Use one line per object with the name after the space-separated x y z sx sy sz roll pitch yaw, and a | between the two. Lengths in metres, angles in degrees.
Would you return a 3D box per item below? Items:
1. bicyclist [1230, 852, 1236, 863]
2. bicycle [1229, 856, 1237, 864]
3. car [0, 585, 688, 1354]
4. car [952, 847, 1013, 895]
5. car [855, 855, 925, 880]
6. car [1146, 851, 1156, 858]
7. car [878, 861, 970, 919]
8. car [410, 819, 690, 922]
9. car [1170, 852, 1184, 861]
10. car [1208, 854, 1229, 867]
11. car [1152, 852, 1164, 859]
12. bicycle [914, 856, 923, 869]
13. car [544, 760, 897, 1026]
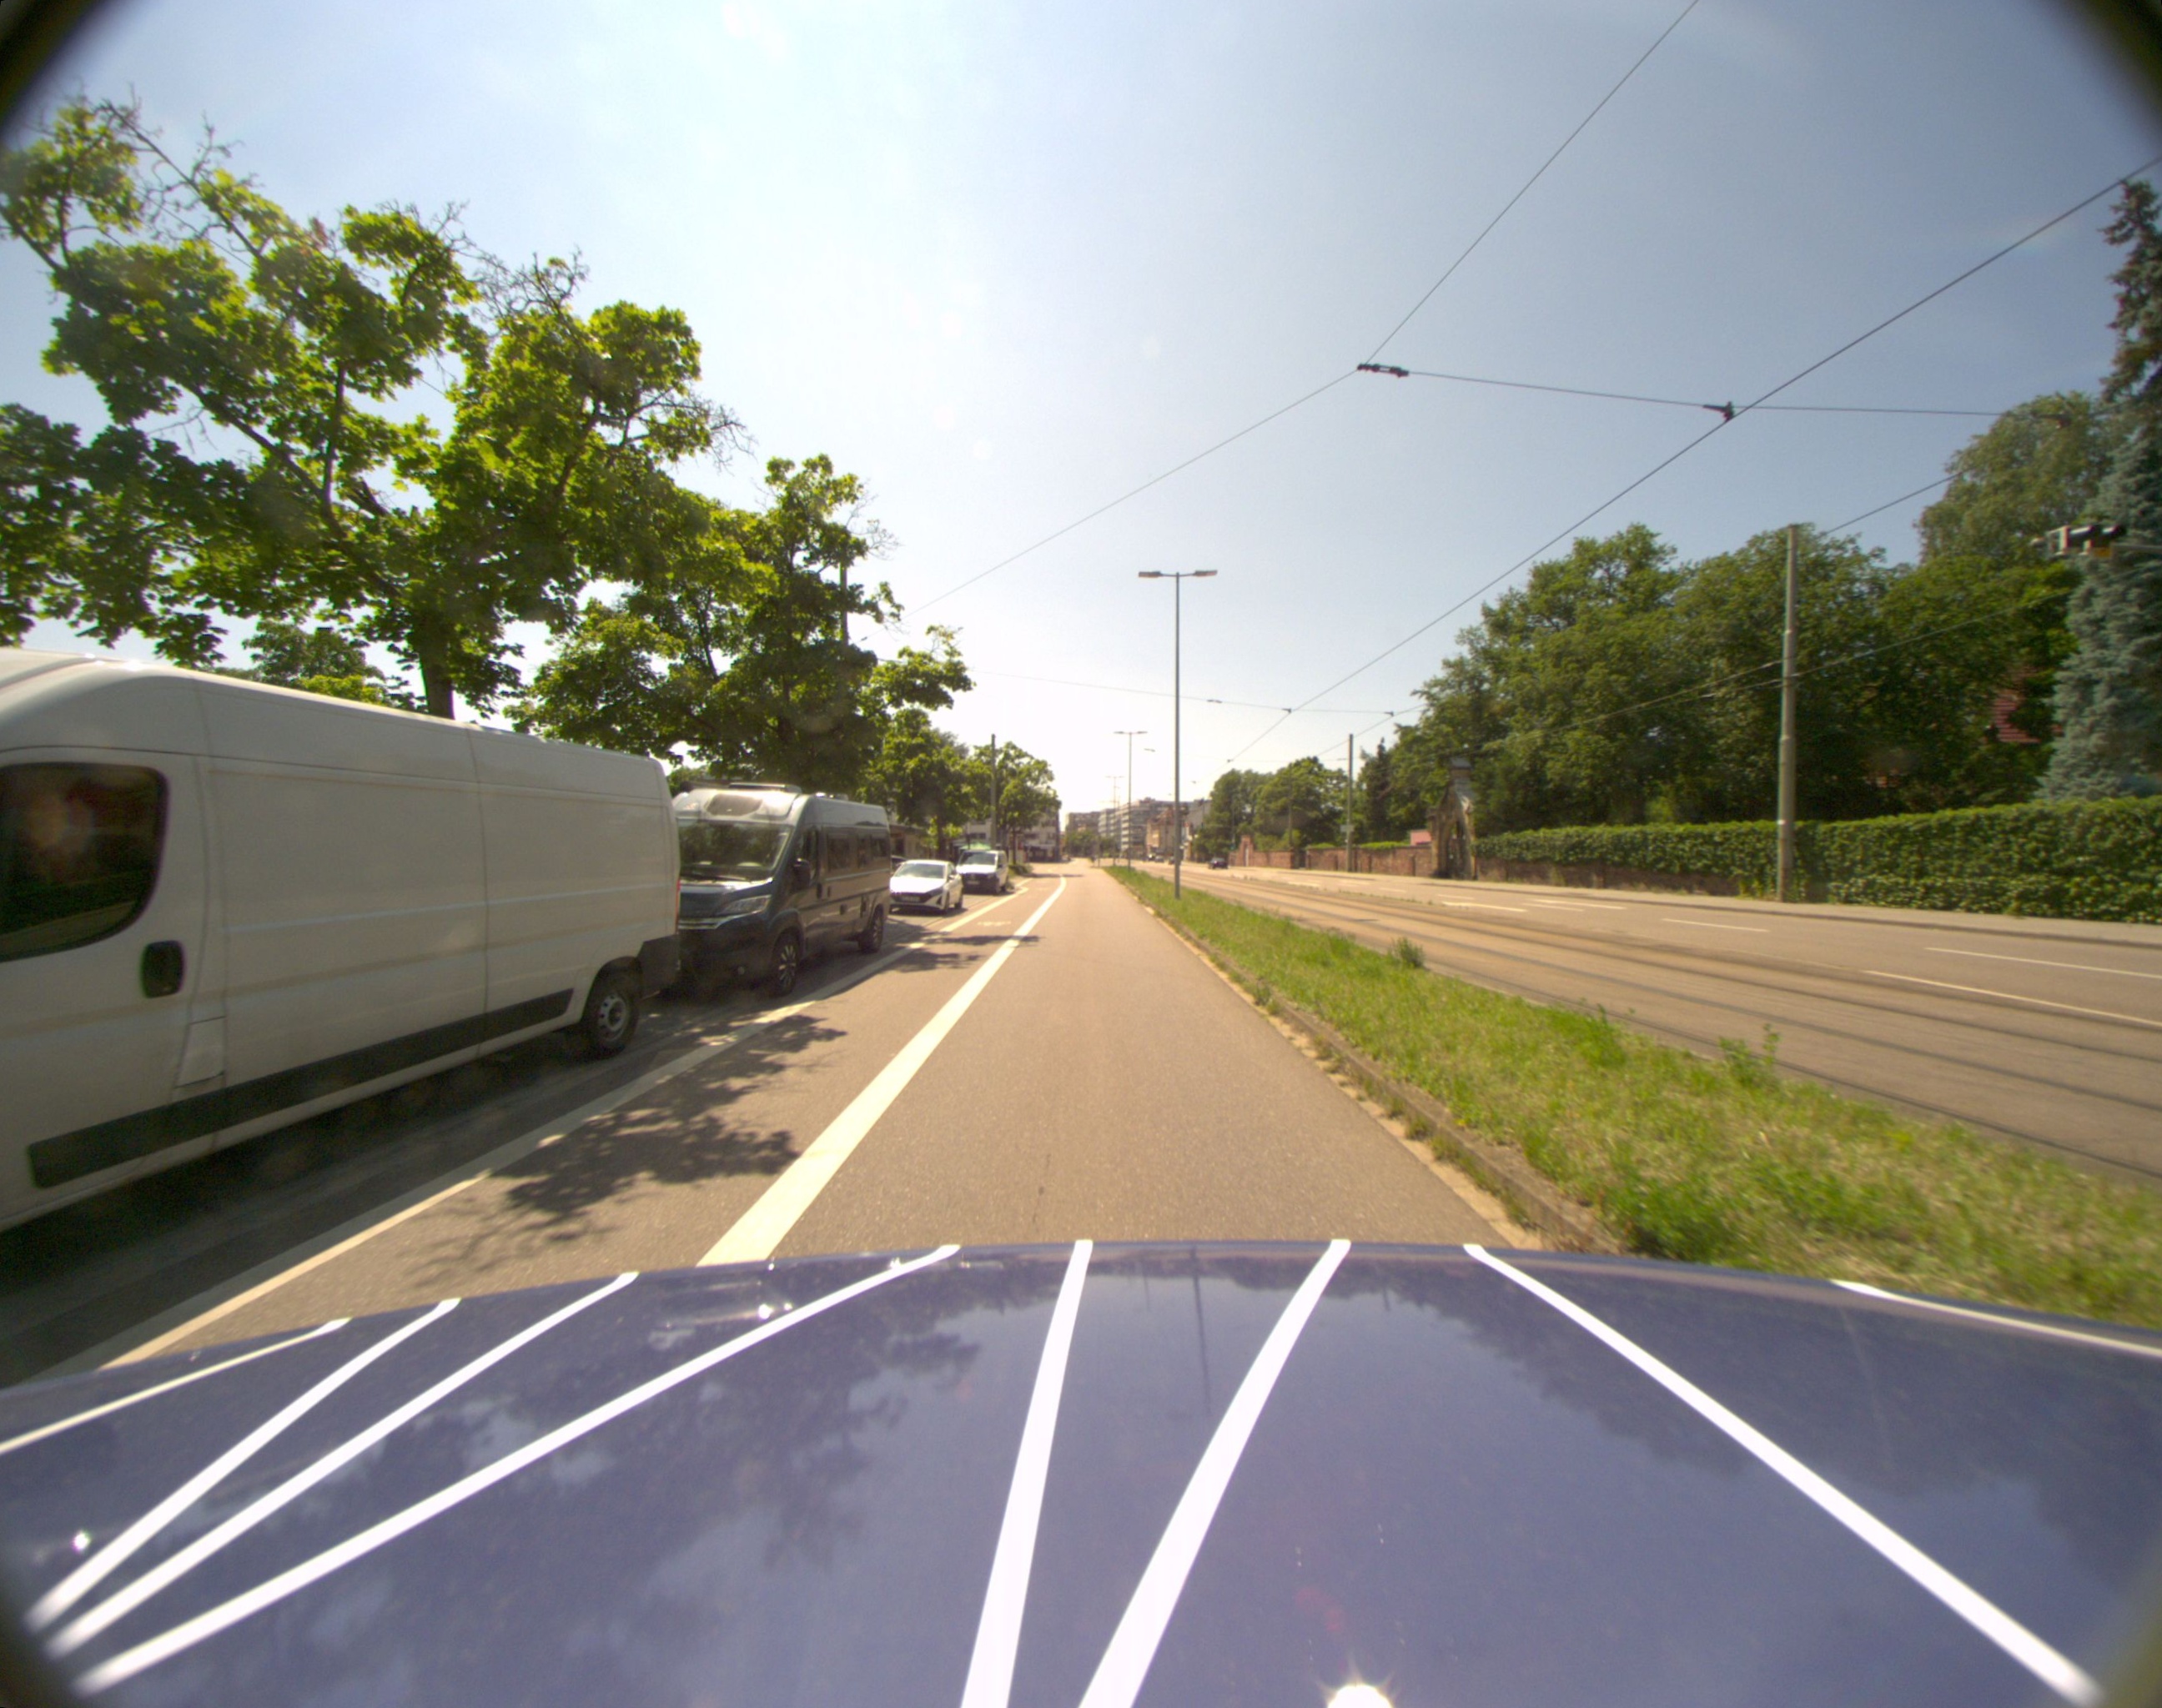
19.924 0.432 99.726 0.654 1.488 0.662 -1 1 -1 | bicyclist
19.926 0.789 99.702 0.654 0.951 2.114 -1 0 -1 | bicycle
-4.667 0.367 3.924 2.003 2.621 6.142 2 0 0 | car
-4.256 0.697 33.674 1.884 1.905 5.124 2 0 1 | car
-12.574 0.859 50.295 4.150 1.601 1.944 0 0 -3 | car
16.056 0.071 173.648 1.845 1.546 4.465 0 0 0 | car
-4.439 0.967 22.136 1.726 1.419 4.209 2 0 1 | car
-14.876 0.444 21.538 6.355 2.514 2.263 -2 1 3 | car
16.199 0.444 128.440 1.845 1.408 5.033 -3 0 1 | car
15.965 0.753 88.134 1.760 1.440 4.123 -2 0 2 | car
15.872 0.338 156.790 1.845 1.408 4.710 -3 0 1 | car
-14.287 0.746 66.720 0.544 1.062 1.900 0 0 -4 | bicycle
-4.379 0.391 10.712 2.003 2.621 6.078 2 0 0 | car
